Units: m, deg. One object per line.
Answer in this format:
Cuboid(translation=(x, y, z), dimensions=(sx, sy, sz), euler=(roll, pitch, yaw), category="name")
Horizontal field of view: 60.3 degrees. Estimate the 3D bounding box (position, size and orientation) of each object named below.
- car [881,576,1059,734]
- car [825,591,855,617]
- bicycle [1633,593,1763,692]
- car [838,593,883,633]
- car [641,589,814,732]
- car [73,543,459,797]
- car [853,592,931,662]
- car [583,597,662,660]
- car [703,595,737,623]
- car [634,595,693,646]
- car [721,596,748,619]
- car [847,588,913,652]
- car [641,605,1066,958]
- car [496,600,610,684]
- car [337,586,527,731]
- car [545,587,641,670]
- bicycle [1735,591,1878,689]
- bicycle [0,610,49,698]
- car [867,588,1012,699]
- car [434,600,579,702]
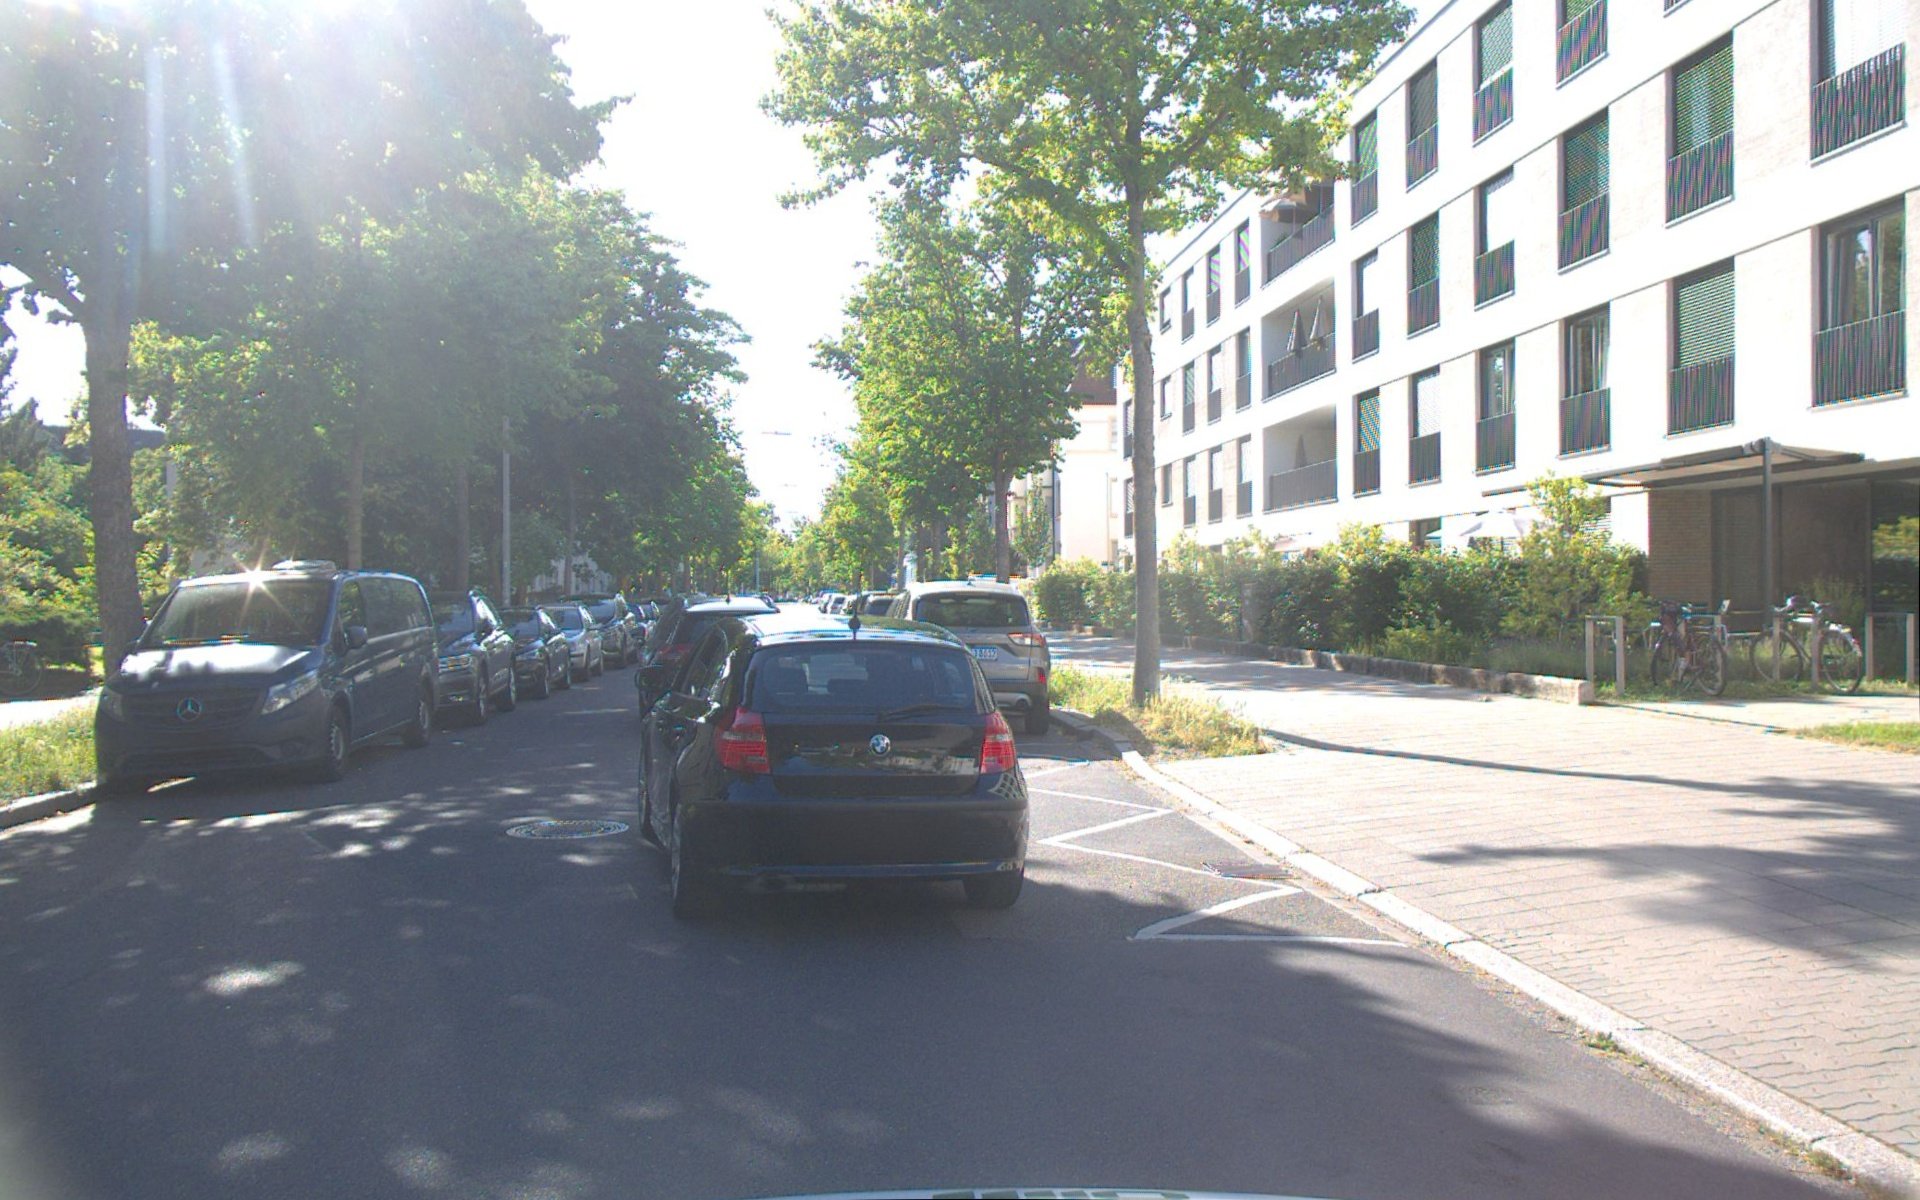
Cuboid(translation=(0.005, 0.586, 19.590), dimensions=(1.811, 1.659, 4.407), euler=(0, 0, -4), category="car")
Cuboid(translation=(-7.261, 0.246, 100.518), dimensions=(1.686, 1.506, 3.849), euler=(-2, 0, -2), category="car")
Cuboid(translation=(8.457, 0.468, 19.023), dimensions=(0.536, 1.073, 1.688), euler=(-2, 0, -8), category="bicycle")
Cuboid(translation=(-3.950, 0.505, 65.417), dimensions=(1.687, 1.506, 3.847), euler=(1, 0, -4), category="car")
Cuboid(translation=(-2.800, 0.615, 19.305), dimensions=(1.621, 1.450, 3.987), euler=(-1, 0, -13), category="car")
Cuboid(translation=(-6.280, 0.542, 15.694), dimensions=(1.791, 1.937, 5.137), euler=(-2, 0, -5), category="car")
Cuboid(translation=(-1.674, 0.599, 39.631), dimensions=(1.687, 1.555, 3.996), euler=(1, 0, -4), category="car")
Cuboid(translation=(-8.699, 0.705, 42.901), dimensions=(1.581, 1.478, 3.860), euler=(-2, 0, -6), category="car")
Cuboid(translation=(-12.723, 0.466, 87.862), dimensions=(1.581, 1.416, 3.860), euler=(-2, 0, -6), category="car")
Cuboid(translation=(-9.724, 0.648, 54.366), dimensions=(1.581, 1.570, 3.860), euler=(-2, 0, -6), category="car")
Cuboid(translation=(-14.626, 0.463, 107.426), dimensions=(1.581, 1.416, 3.860), euler=(-2, 0, -6), category="car")
Cuboid(translation=(-2.251, 0.521, 45.605), dimensions=(1.687, 1.669, 3.847), euler=(1, 0, -4), category="car")
Cuboid(translation=(-0.747, 0.767, 8.803), dimensions=(1.622, 1.421, 3.398), euler=(-1, 0, -15), category="car")
Cuboid(translation=(-7.765, 0.756, 31.807), dimensions=(1.581, 1.452, 3.721), euler=(-2, 0, -6), category="car")
Cuboid(translation=(-6.728, 0.672, 21.468), dimensions=(1.582, 1.639, 4.222), euler=(-2, 0, -8), category="car")
Cuboid(translation=(-8.187, 0.601, 37.227), dimensions=(1.581, 1.708, 4.229), euler=(-2, 0, -6), category="car")
Cuboid(translation=(9.784, 0.439, 19.198), dimensions=(0.536, 1.073, 1.777), euler=(-2, 0, -8), category="bicycle")
Cuboid(translation=(-14.318, 0.795, 23.660), dimensions=(2.111, 1.230, 0.687), euler=(-2, 0, -17), category="bicycle")
Cuboid(translation=(-0.394, 0.607, 25.267), dimensions=(1.662, 1.550, 3.991), euler=(0, 0, -9), category="car")
Cuboid(translation=(-7.241, 0.753, 26.746), dimensions=(1.581, 1.452, 4.053), euler=(-2, 0, -6), category="car")
